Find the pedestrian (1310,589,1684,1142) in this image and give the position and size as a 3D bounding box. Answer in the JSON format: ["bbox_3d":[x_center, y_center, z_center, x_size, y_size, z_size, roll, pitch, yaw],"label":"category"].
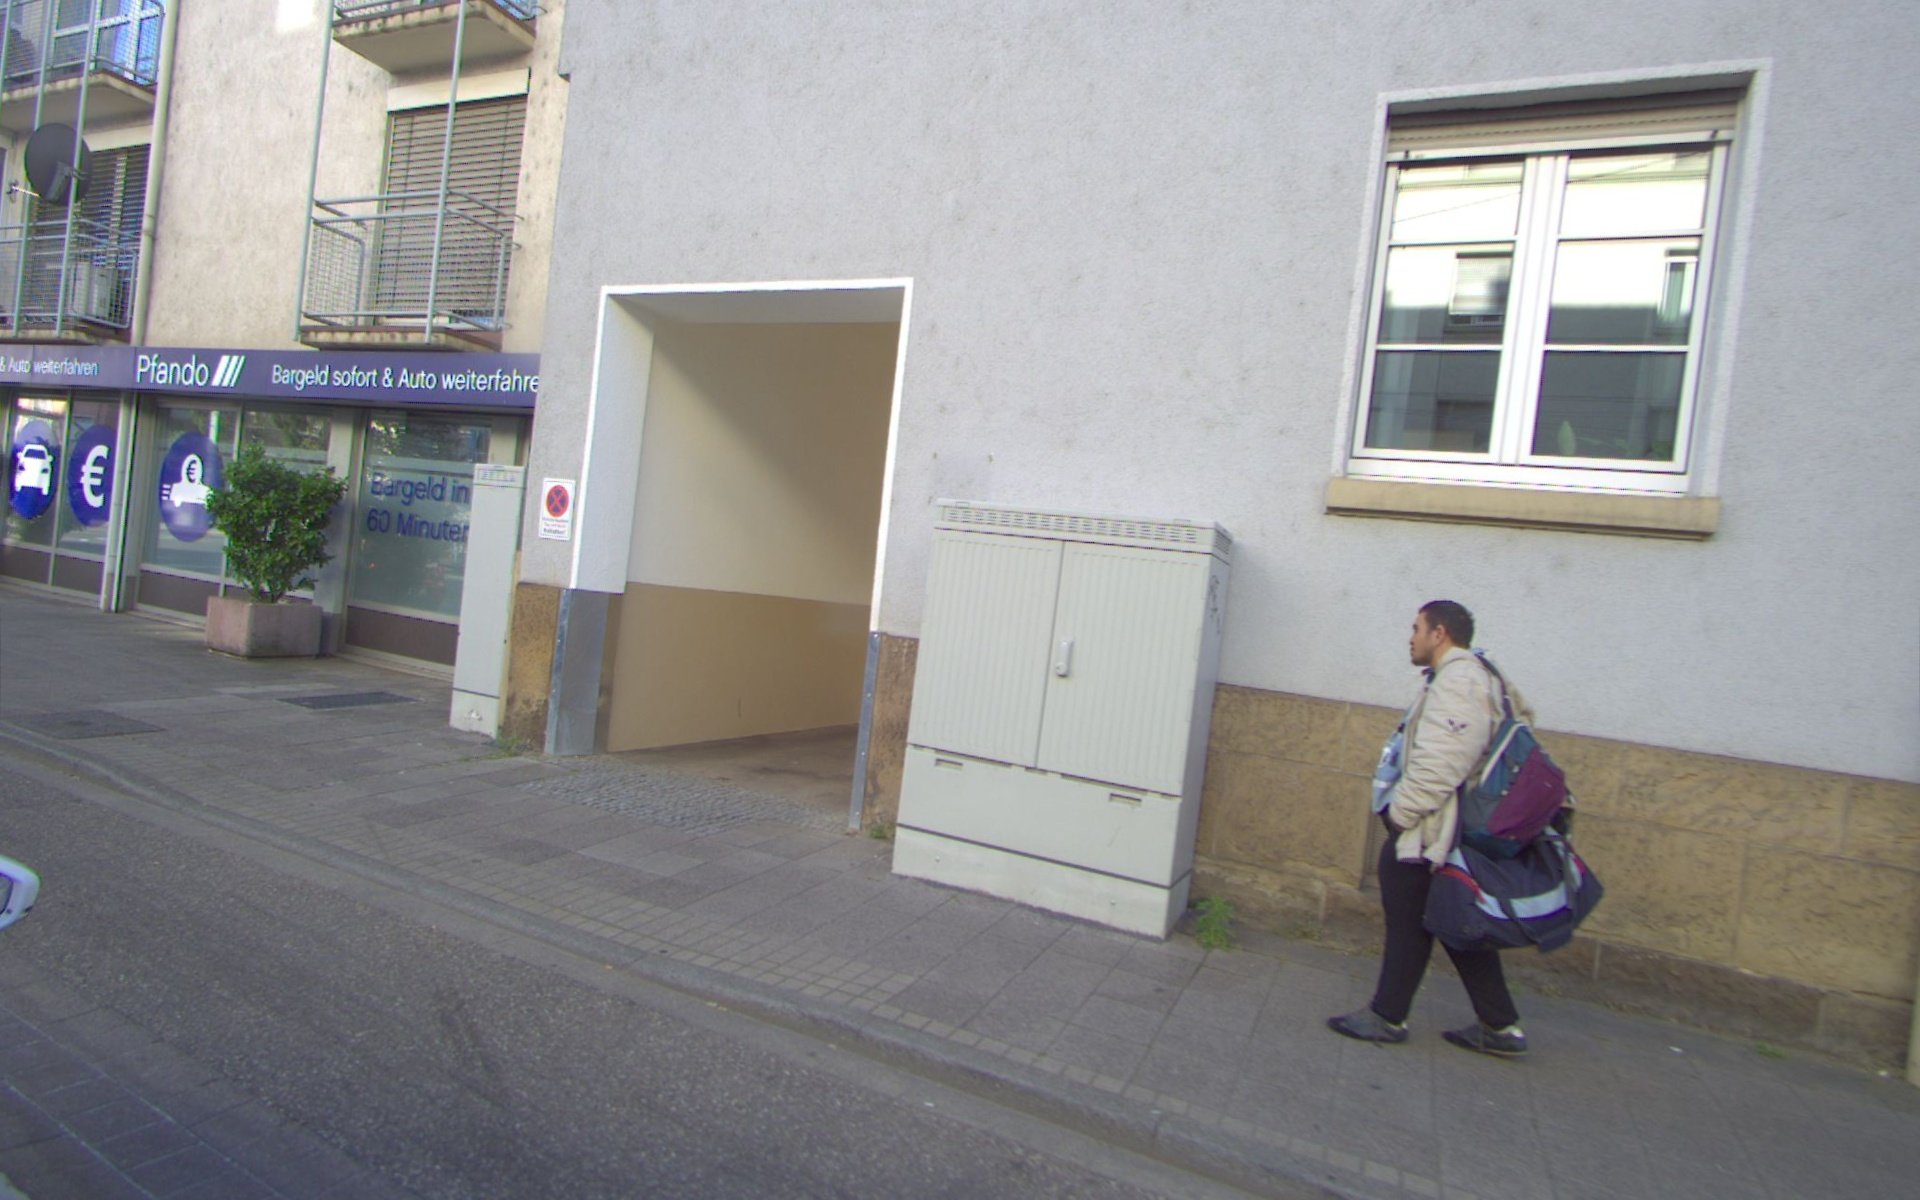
[{"bbox_3d":[1.805,0.793,3.499,0.854,1.555,0.826,7,3,26],"label":"pedestrian"}]
